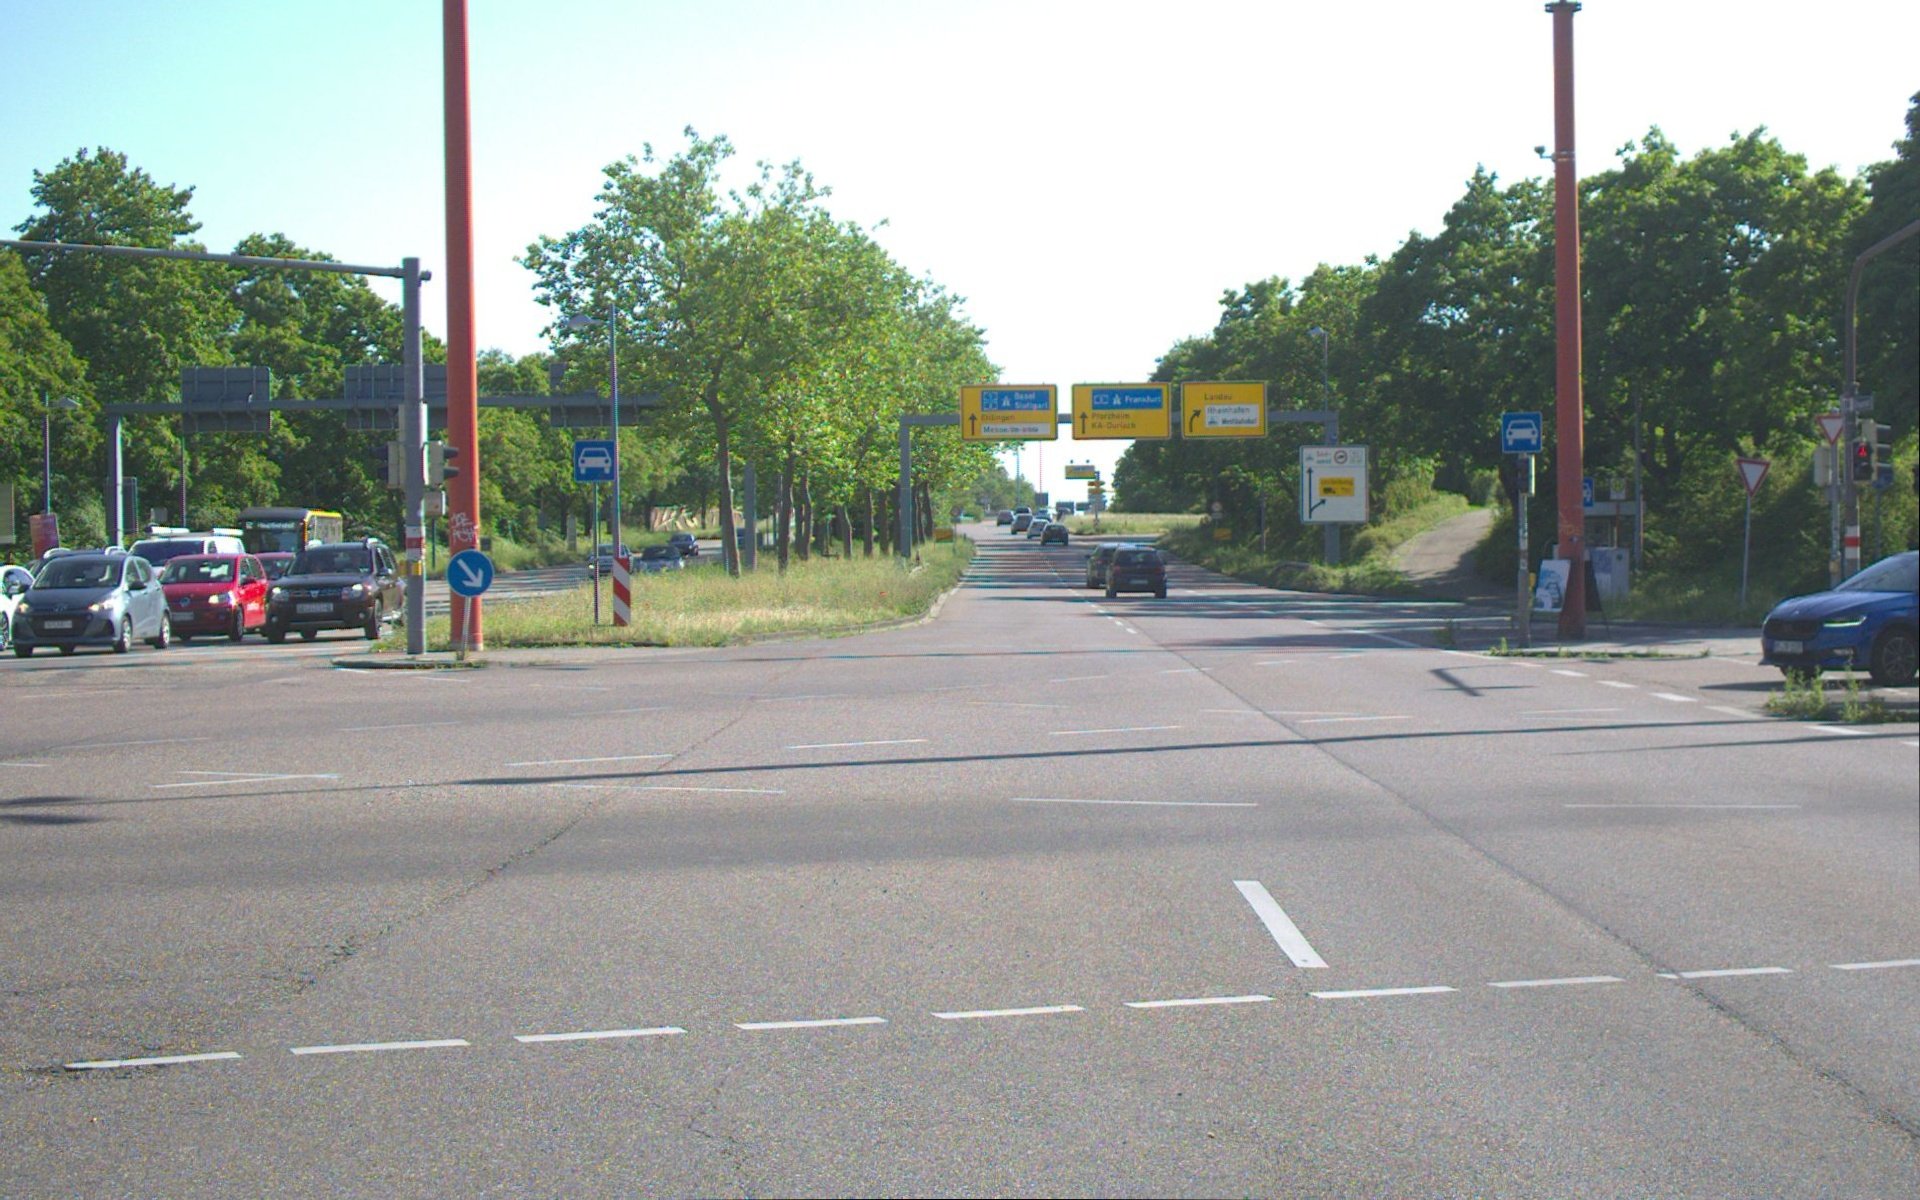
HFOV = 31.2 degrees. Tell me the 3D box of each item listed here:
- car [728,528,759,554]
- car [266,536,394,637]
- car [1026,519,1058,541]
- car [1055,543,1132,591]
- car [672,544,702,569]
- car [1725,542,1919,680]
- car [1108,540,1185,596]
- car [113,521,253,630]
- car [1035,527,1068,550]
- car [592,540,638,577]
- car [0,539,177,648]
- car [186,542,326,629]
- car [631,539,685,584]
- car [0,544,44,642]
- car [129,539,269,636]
[{"bbox_3d":[-13.658,-3.709,216.701,1.876,1.568,4.121,-1,1,-5],"label":"car"},{"bbox_3d":[-10.247,-0.246,56.154,1.876,1.568,4.122,-1,1,-8],"label":"car"},{"bbox_3d":[6.211,-5.285,259.888,2.159,1.568,4.281,-1,1,-2],"label":"car"},{"bbox_3d":[4.563,-1.153,118.181,2.158,1.568,4.583,-1,1,-3],"label":"car"},{"bbox_3d":[-17.133,-2.737,215.644,1.876,1.568,4.121,-1,1,-5],"label":"car"},{"bbox_3d":[10.676,0.078,37.395,4.266,1.423,1.885,-1,1,-22],"label":"car"},{"bbox_3d":[5.310,-0.933,98.363,2.159,1.568,4.281,-1,1,2],"label":"car"},{"bbox_3d":[-16.115,-0.529,71.514,2.062,2.185,4.379,-1,1,-2],"label":"car"},{"bbox_3d":[6.209,-4.179,233.370,2.159,1.568,4.281,-1,1,1],"label":"car"},{"bbox_3d":[-14.937,-1.813,149.000,1.876,1.568,4.121,-1,1,-5],"label":"car"},{"bbox_3d":[-13.253,-0.133,52.173,1.993,1.568,4.121,-1,1,-3],"label":"car"},{"bbox_3d":[-13.117,-0.297,64.254,1.993,1.568,4.121,-1,1,-4],"label":"car"},{"bbox_3d":[-10.856,-1.408,123.687,1.876,1.568,4.121,-1,1,-5],"label":"car"},{"bbox_3d":[-16.488,-0.119,57.042,1.993,1.568,4.122,-2,1,-8],"label":"car"},{"bbox_3d":[-12.899,-0.237,58.475,1.993,1.568,4.122,-1,1,-8],"label":"car"}]
